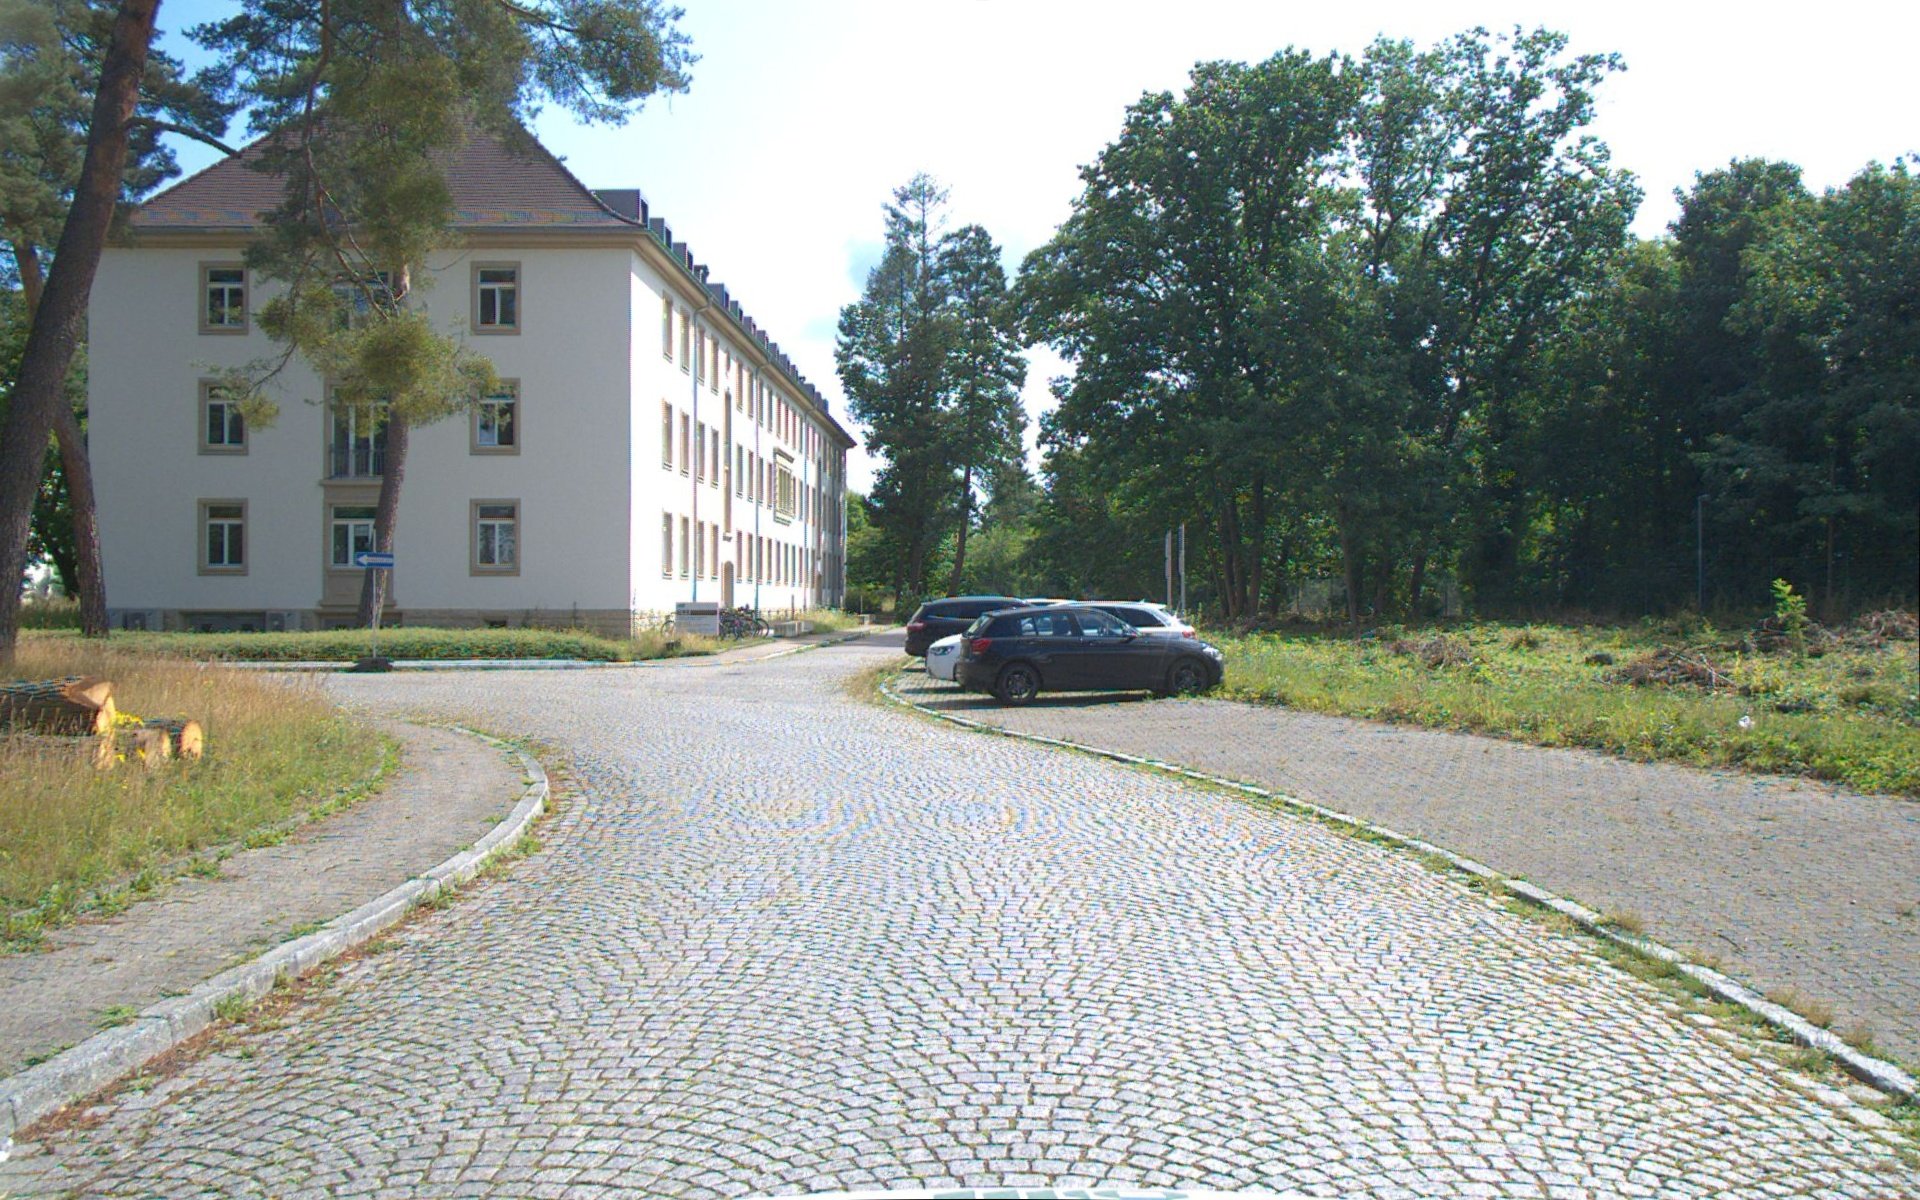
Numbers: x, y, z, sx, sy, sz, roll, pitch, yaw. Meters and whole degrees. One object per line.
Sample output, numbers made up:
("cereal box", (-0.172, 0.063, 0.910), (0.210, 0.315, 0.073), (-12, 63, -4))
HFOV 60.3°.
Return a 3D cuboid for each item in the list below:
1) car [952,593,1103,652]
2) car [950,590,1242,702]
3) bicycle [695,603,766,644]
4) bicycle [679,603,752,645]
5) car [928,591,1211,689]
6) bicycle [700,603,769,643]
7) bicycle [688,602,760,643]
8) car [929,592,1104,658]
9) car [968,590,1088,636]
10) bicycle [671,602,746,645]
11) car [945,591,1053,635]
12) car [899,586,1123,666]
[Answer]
("car", (1.901, 0.629, 46.443), (4.119, 1.510, 1.821), (-2, -1, 3))
("car", (2.067, 0.685, 25.829), (4.242, 1.526, 1.827), (-2, 1, -7))
("bicycle", (-7.433, 0.760, 53.532), (2.175, 1.282, 0.623), (-1, 0, 3))
("bicycle", (-7.635, 0.760, 51.741), (2.175, 1.282, 0.623), (-1, 0, 3))
("car", (1.862, 0.670, 29.038), (4.763, 1.498, 1.874), (-2, 1, -1))
("bicycle", (-7.430, 0.761, 54.541), (2.175, 1.282, 0.623), (-1, 0, 3))
("bicycle", (-7.501, 0.720, 52.657), (2.175, 1.282, 0.623), (-1, 0, 7))
("car", (1.403, 0.629, 41.835), (4.308, 1.510, 1.765), (-2, -1, -1))
("car", (2.431, 0.472, 59.113), (4.177, 1.510, 1.821), (-2, -1, 3))
("bicycle", (-7.742, 0.721, 50.920), (2.175, 1.282, 0.623), (-1, 0, 7))
("car", (1.555, 0.494, 64.531), (4.099, 1.570, 1.821), (-2, -1, 3))
("car", (1.093, 0.568, 36.400), (4.754, 1.580, 1.879), (-2, -1, -1))
